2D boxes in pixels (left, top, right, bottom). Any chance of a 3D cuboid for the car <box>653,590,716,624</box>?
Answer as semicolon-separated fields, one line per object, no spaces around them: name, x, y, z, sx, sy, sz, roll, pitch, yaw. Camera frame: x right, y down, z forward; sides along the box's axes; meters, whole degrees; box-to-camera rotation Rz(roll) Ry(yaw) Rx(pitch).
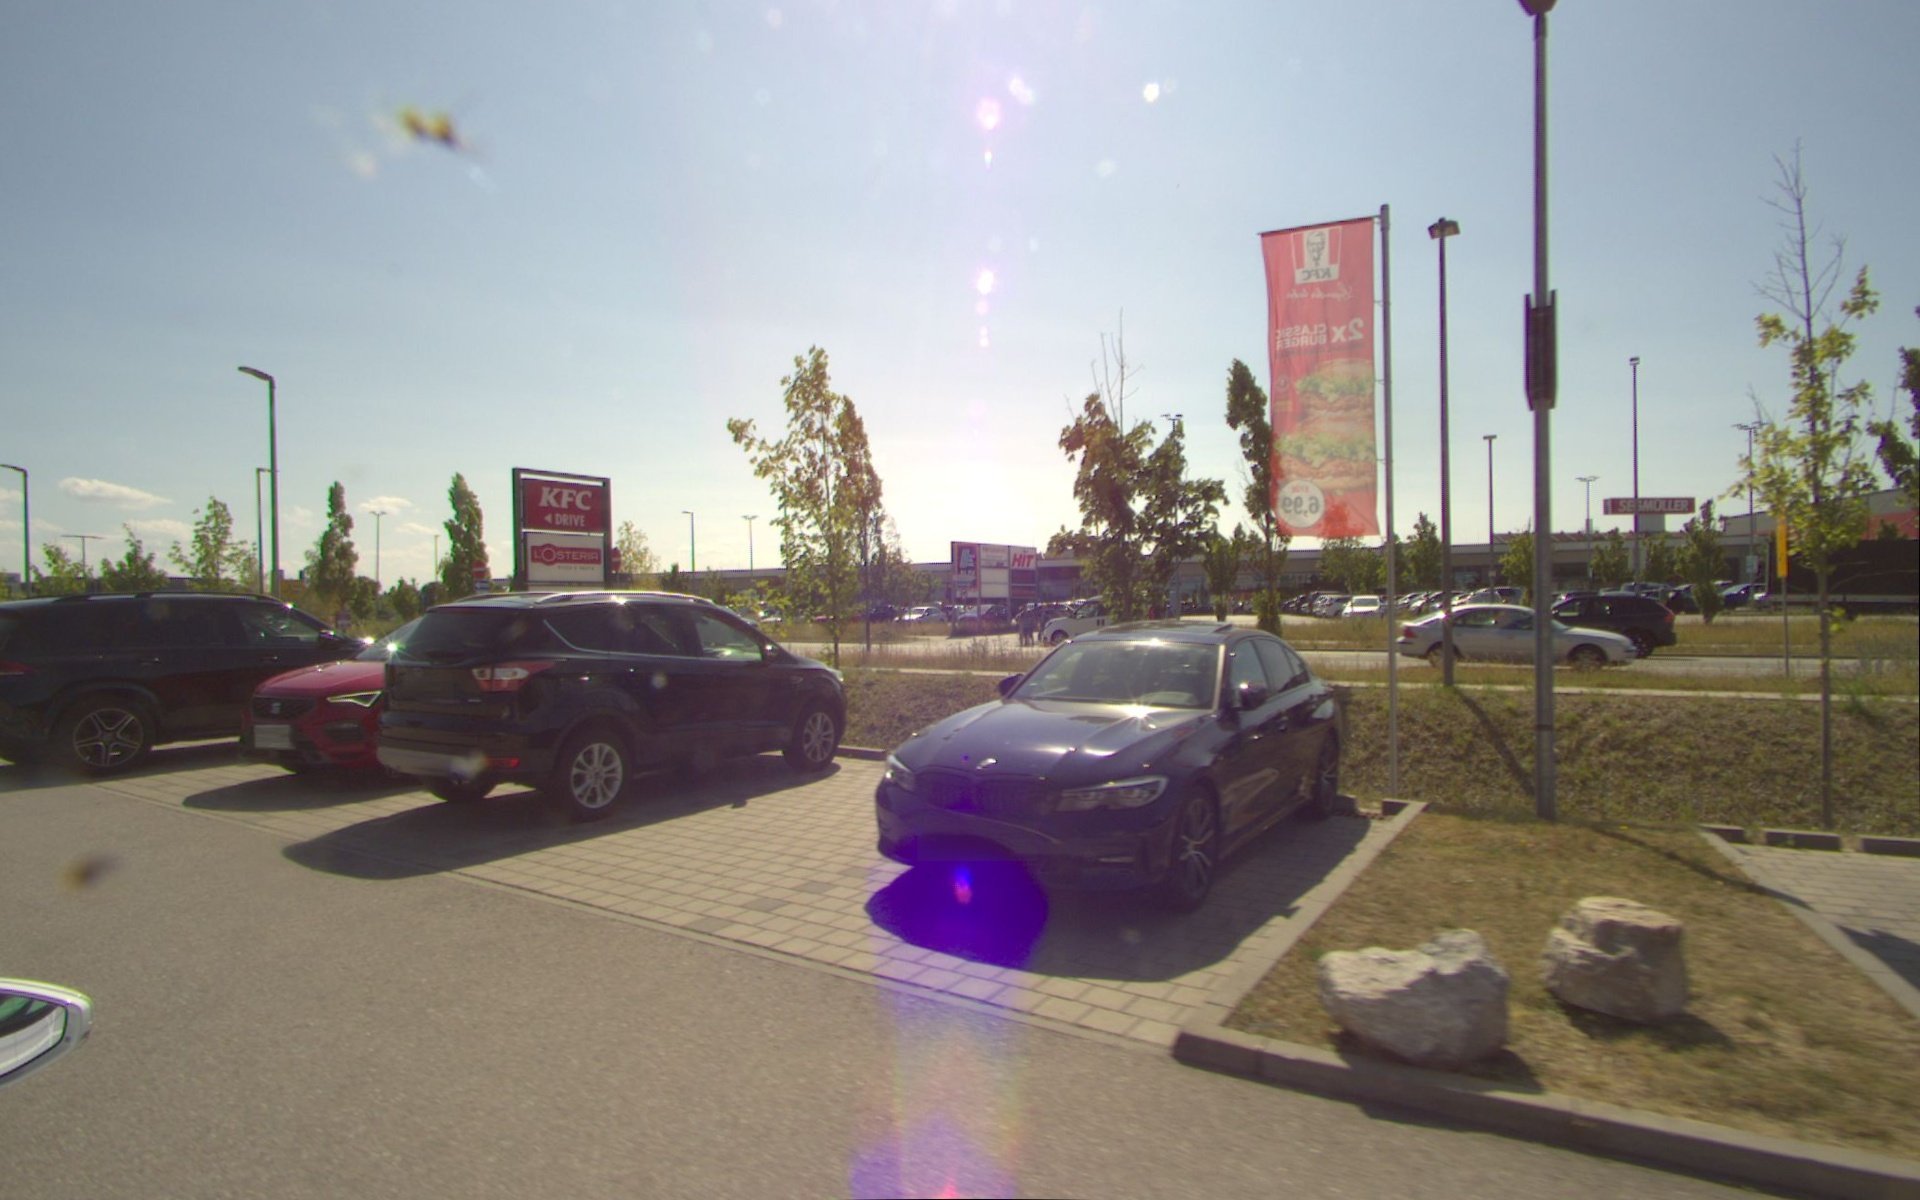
car;-21.059;0.546;76.713;1.966;2.488;5.063;0;0;22

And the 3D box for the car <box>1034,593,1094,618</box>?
car;8.629;0.482;83.005;4.837;2.040;2.081;0;0;9

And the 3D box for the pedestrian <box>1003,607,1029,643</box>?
pedestrian;2.252;1.019;40.123;0.715;1.416;0.861;-1;-1;30

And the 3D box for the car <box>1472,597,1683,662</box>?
car;16.644;0.755;27.284;4.733;1.646;1.991;0;0;29

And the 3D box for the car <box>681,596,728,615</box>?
car;-22.980;0.501;90.114;3.618;1.639;1.903;0;0;20

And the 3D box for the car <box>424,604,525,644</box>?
car;-22.452;1.087;46.233;4.689;1.756;1.990;0;0;31

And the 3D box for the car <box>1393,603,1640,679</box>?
car;12.208;0.845;22.244;4.585;1.547;1.992;0;0;29

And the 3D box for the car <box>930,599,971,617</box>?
car;-0.820;0.692;88.276;3.409;1.572;1.666;0;0;8

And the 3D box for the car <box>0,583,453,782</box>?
car;-8.392;0.799;11.238;1.867;1.783;4.570;-1;-1;30

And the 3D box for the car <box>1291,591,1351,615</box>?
car;29.115;0.263;80.934;4.321;1.880;1.954;0;0;11

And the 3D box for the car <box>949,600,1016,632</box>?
car;1.415;0.984;61.512;1.972;1.870;4.706;0;0;33

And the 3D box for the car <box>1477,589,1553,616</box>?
car;39.391;0.179;71.158;4.322;1.880;1.954;0;0;13

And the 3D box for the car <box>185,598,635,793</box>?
car;-5.438;0.844;10.602;1.861;1.629;4.078;0;-1;15

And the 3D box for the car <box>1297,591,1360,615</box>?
car;28.732;0.240;78.171;4.321;1.880;1.954;0;0;11

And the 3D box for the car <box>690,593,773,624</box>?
car;-17.013;0.646;75.009;2.771;2.267;6.289;0;0;26

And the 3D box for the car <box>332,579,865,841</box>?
car;-2.857;0.784;8.940;1.867;1.724;4.314;-1;-1;30

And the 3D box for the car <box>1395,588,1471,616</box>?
car;32.159;0.156;68.206;4.322;1.880;1.954;0;0;13

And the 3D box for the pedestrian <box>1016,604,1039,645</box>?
pedestrian;2.645;0.960;39.212;0.659;1.576;0.621;0;0;39

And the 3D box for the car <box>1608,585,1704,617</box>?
car;42.189;0.092;60.804;4.322;1.880;1.954;0;0;13

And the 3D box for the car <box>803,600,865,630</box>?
car;-8.658;1.013;68.995;1.974;2.040;4.064;0;0;36

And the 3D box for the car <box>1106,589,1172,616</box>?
car;12.683;0.182;70.770;4.488;1.880;1.954;0;0;13

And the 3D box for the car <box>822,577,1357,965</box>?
car;1.226;0.792;6.676;1.869;1.659;4.428;-1;-1;32

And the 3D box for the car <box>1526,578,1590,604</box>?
car;47.190;-0.681;79.044;3.927;2.040;1.997;0;0;16

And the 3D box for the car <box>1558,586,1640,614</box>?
car;43.764;-0.002;68.644;4.322;1.880;1.954;0;0;13

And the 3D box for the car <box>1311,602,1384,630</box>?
car;26.271;1.092;68.016;4.322;1.880;1.954;0;0;13

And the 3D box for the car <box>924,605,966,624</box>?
car;-1.251;1.247;85.344;3.409;1.572;1.666;0;0;8

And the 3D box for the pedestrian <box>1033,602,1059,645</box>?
pedestrian;3.333;0.904;38.672;0.747;1.621;0.687;0;0;39

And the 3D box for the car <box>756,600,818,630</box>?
car;-12.400;1.053;72.125;1.966;2.040;5.166;0;0;22

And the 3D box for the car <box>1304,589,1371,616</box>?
car;27.440;0.197;72.940;4.322;1.880;1.954;0;0;13

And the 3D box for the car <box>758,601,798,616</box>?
car;-17.185;0.820;94.686;3.419;1.418;1.431;0;0;12

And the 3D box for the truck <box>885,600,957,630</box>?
truck;-2.461;0.941;64.837;1.971;1.888;5.404;0;0;32

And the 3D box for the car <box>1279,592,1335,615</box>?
car;29.905;0.309;86.388;4.321;1.880;1.954;0;0;11

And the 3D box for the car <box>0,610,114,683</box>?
car;-21.419;1.017;23.103;4.063;1.497;1.830;-1;1;34

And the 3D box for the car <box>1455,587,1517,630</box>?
car;24.269;0.389;46.106;1.930;1.880;4.376;0;0;36

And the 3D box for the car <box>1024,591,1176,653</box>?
car;4.712;0.708;34.041;4.826;1.980;1.868;0;0;34

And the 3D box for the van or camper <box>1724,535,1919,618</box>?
van or camper;35.667;-0.872;39.952;2.395;3.142;7.978;0;0;-43

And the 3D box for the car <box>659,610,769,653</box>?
car;-10.261;1.279;41.676;4.539;1.686;1.868;0;0;34

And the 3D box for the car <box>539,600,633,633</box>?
car;-17.713;0.776;47.362;4.539;1.503;1.868;0;0;34

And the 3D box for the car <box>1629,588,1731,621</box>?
car;41.550;0.249;57.889;4.322;1.880;1.954;0;0;13

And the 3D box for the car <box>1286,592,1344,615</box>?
car;29.649;0.286;83.661;4.321;1.880;1.954;0;0;11

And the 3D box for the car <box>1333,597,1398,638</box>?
car;19.632;0.837;48.397;1.974;1.880;4.258;0;0;36

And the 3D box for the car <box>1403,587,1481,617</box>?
car;31.681;0.137;65.927;4.322;1.880;1.954;0;0;13

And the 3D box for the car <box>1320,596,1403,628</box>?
car;24.062;0.727;60.152;4.322;1.880;1.954;0;0;13
